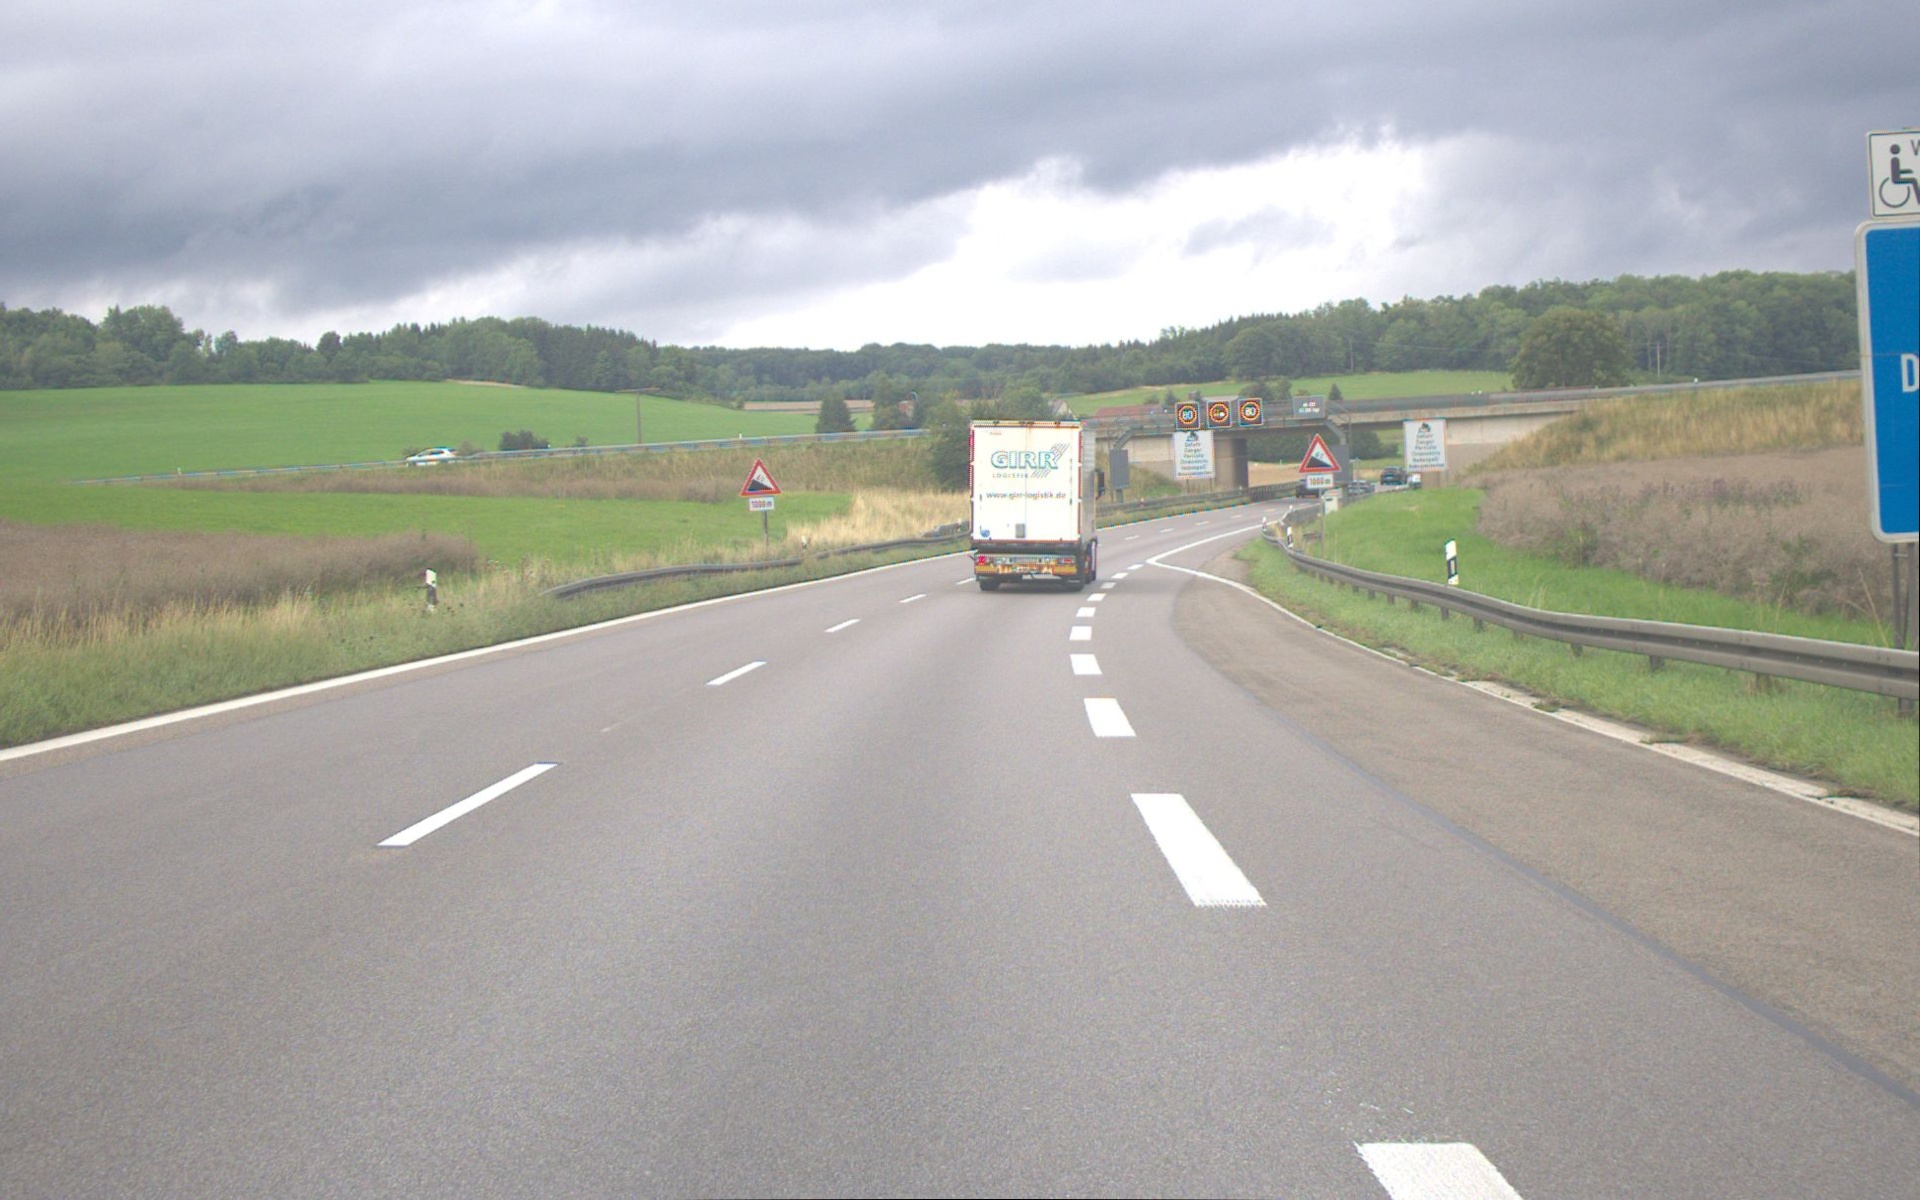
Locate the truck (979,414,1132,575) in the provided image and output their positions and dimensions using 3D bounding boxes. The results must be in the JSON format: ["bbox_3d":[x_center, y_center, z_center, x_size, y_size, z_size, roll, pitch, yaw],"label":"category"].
[{"bbox_3d":[2.658,-2.811,92.273,3.788,4.117,8.264,0,1,4],"label":"truck"}]

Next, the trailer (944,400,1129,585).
[{"bbox_3d":[2.096,-2.609,84.960,3.806,4.160,14.807,0,1,4],"label":"trailer"}]
